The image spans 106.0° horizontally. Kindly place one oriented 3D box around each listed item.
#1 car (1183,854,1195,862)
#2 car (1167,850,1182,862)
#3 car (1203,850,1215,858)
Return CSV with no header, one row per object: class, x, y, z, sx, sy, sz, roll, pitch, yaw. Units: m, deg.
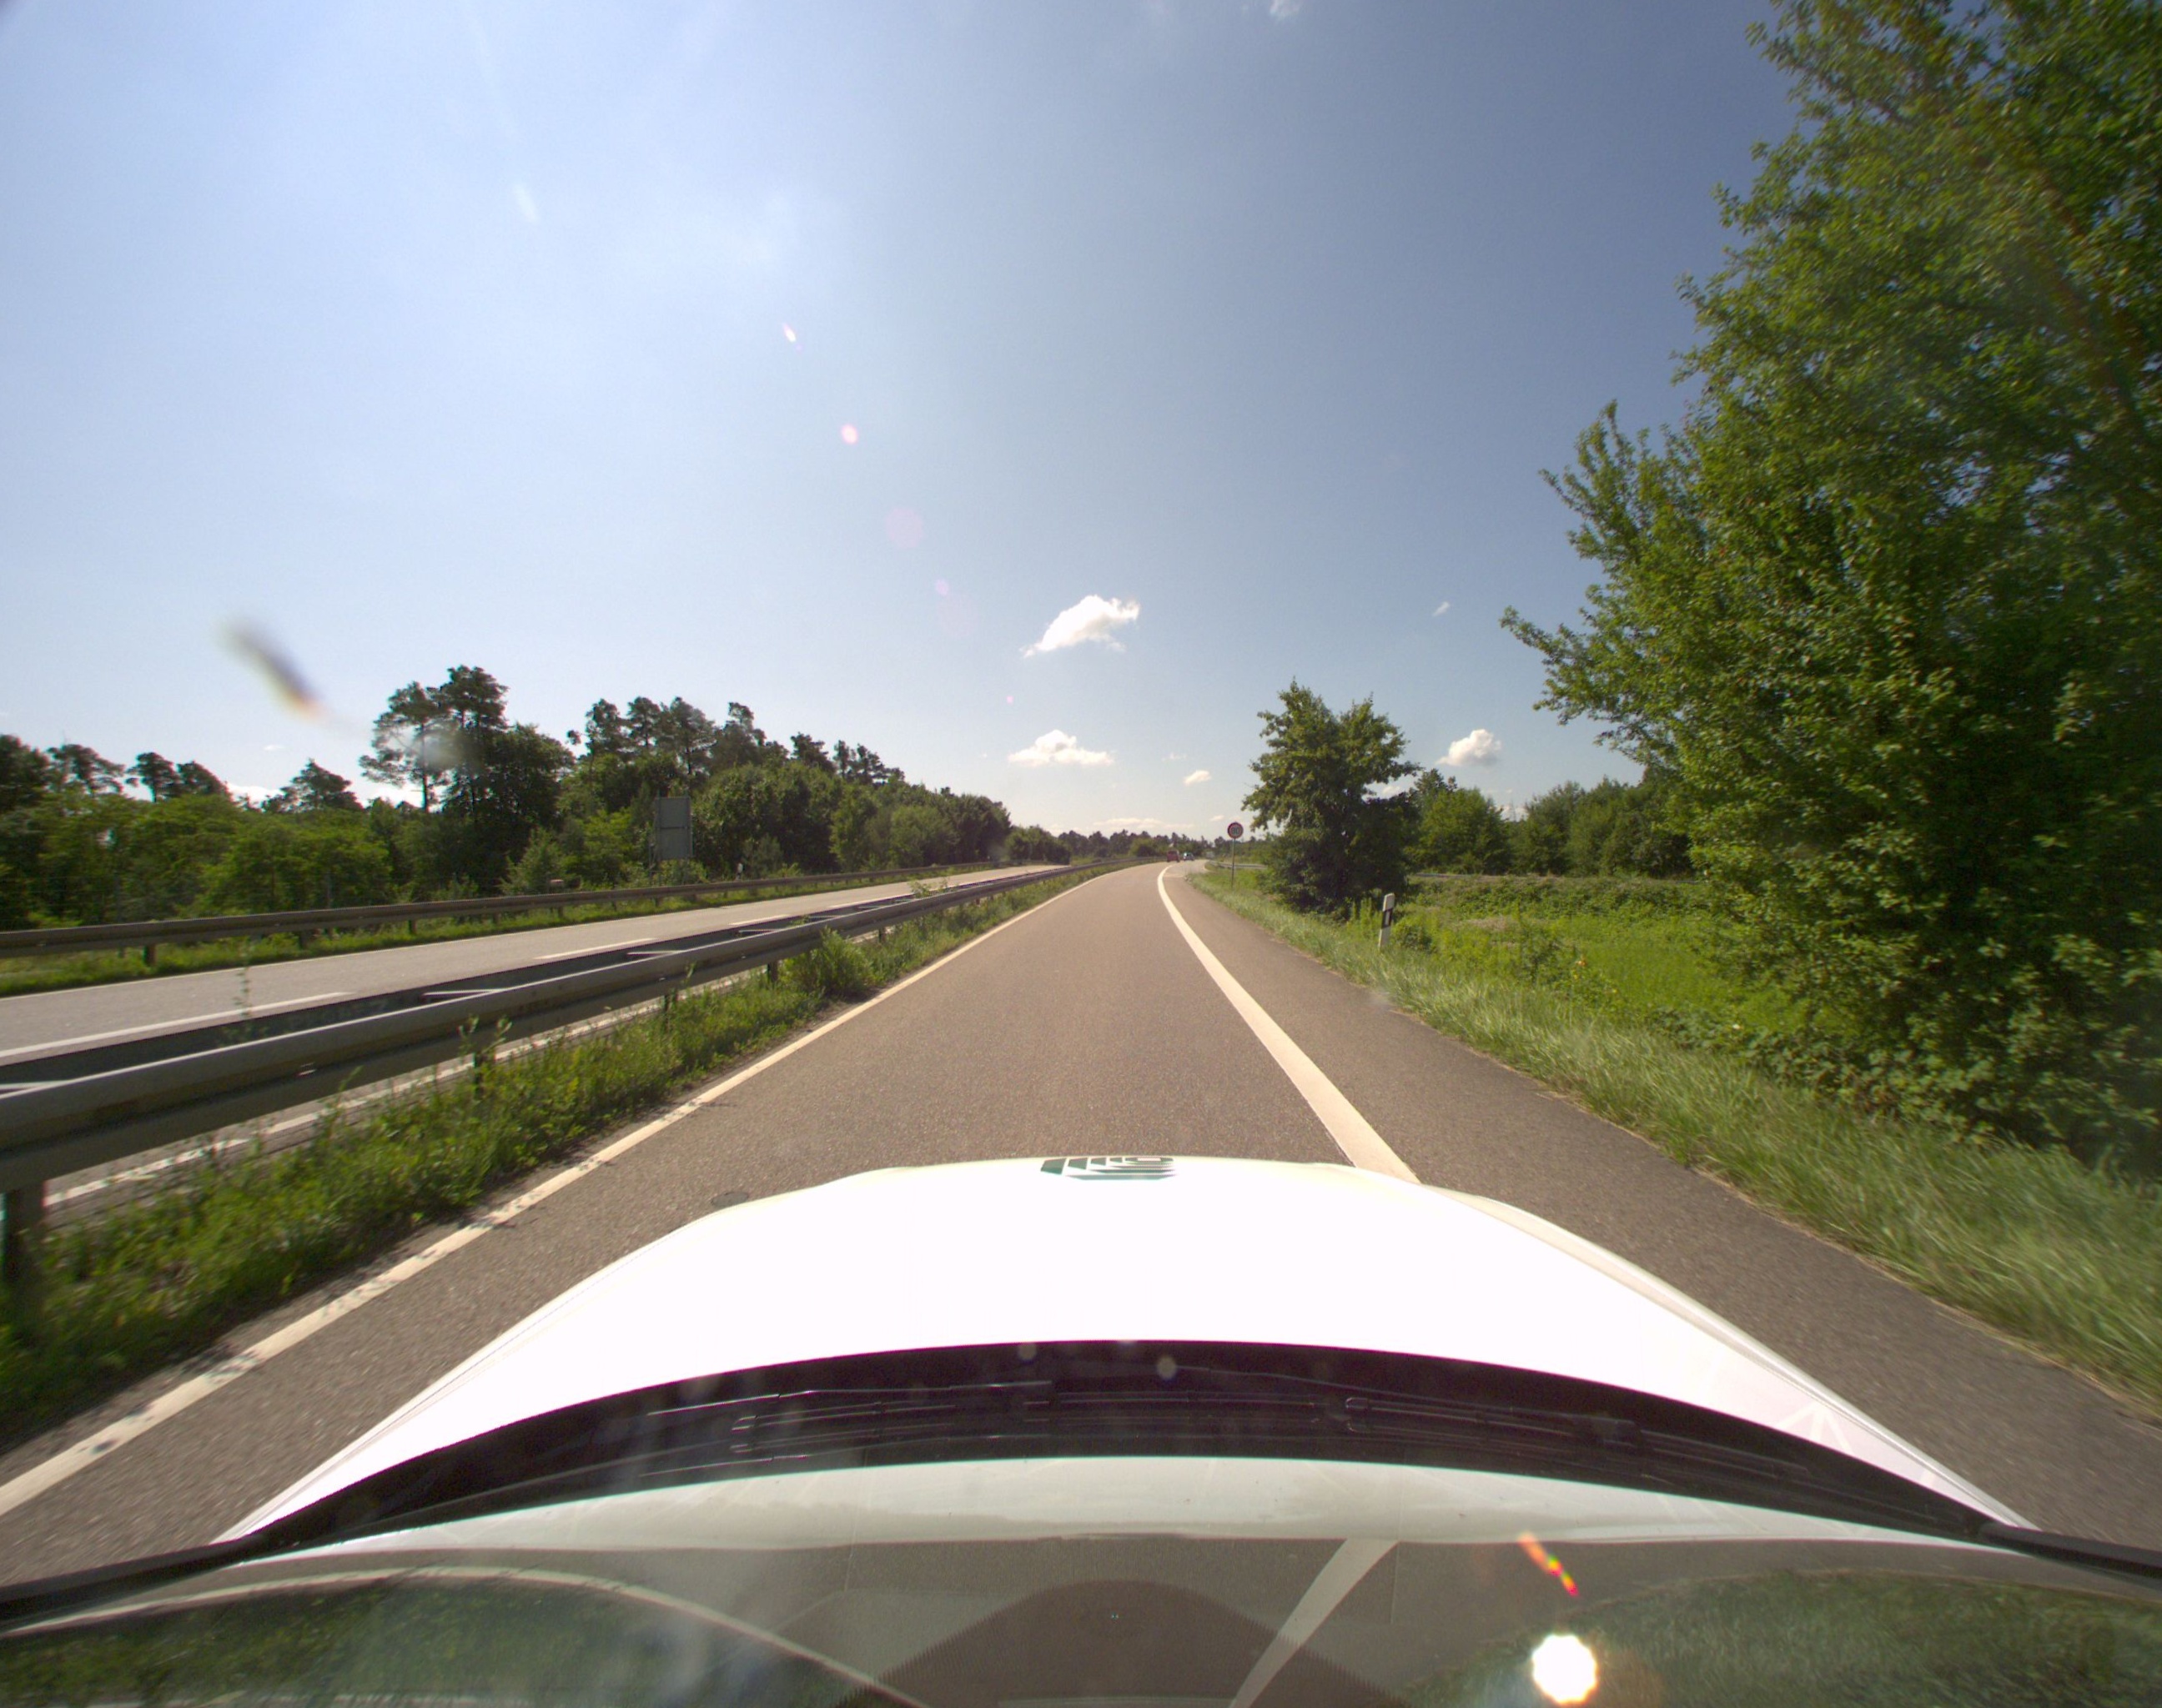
car,20.573,0.784,154.650,1.994,1.494,4.251,0,-1,11
car,15.179,0.349,131.765,2.064,1.993,5.127,0,-1,11
car,32.122,0.126,204.832,2.168,1.955,5.829,0,-1,17
